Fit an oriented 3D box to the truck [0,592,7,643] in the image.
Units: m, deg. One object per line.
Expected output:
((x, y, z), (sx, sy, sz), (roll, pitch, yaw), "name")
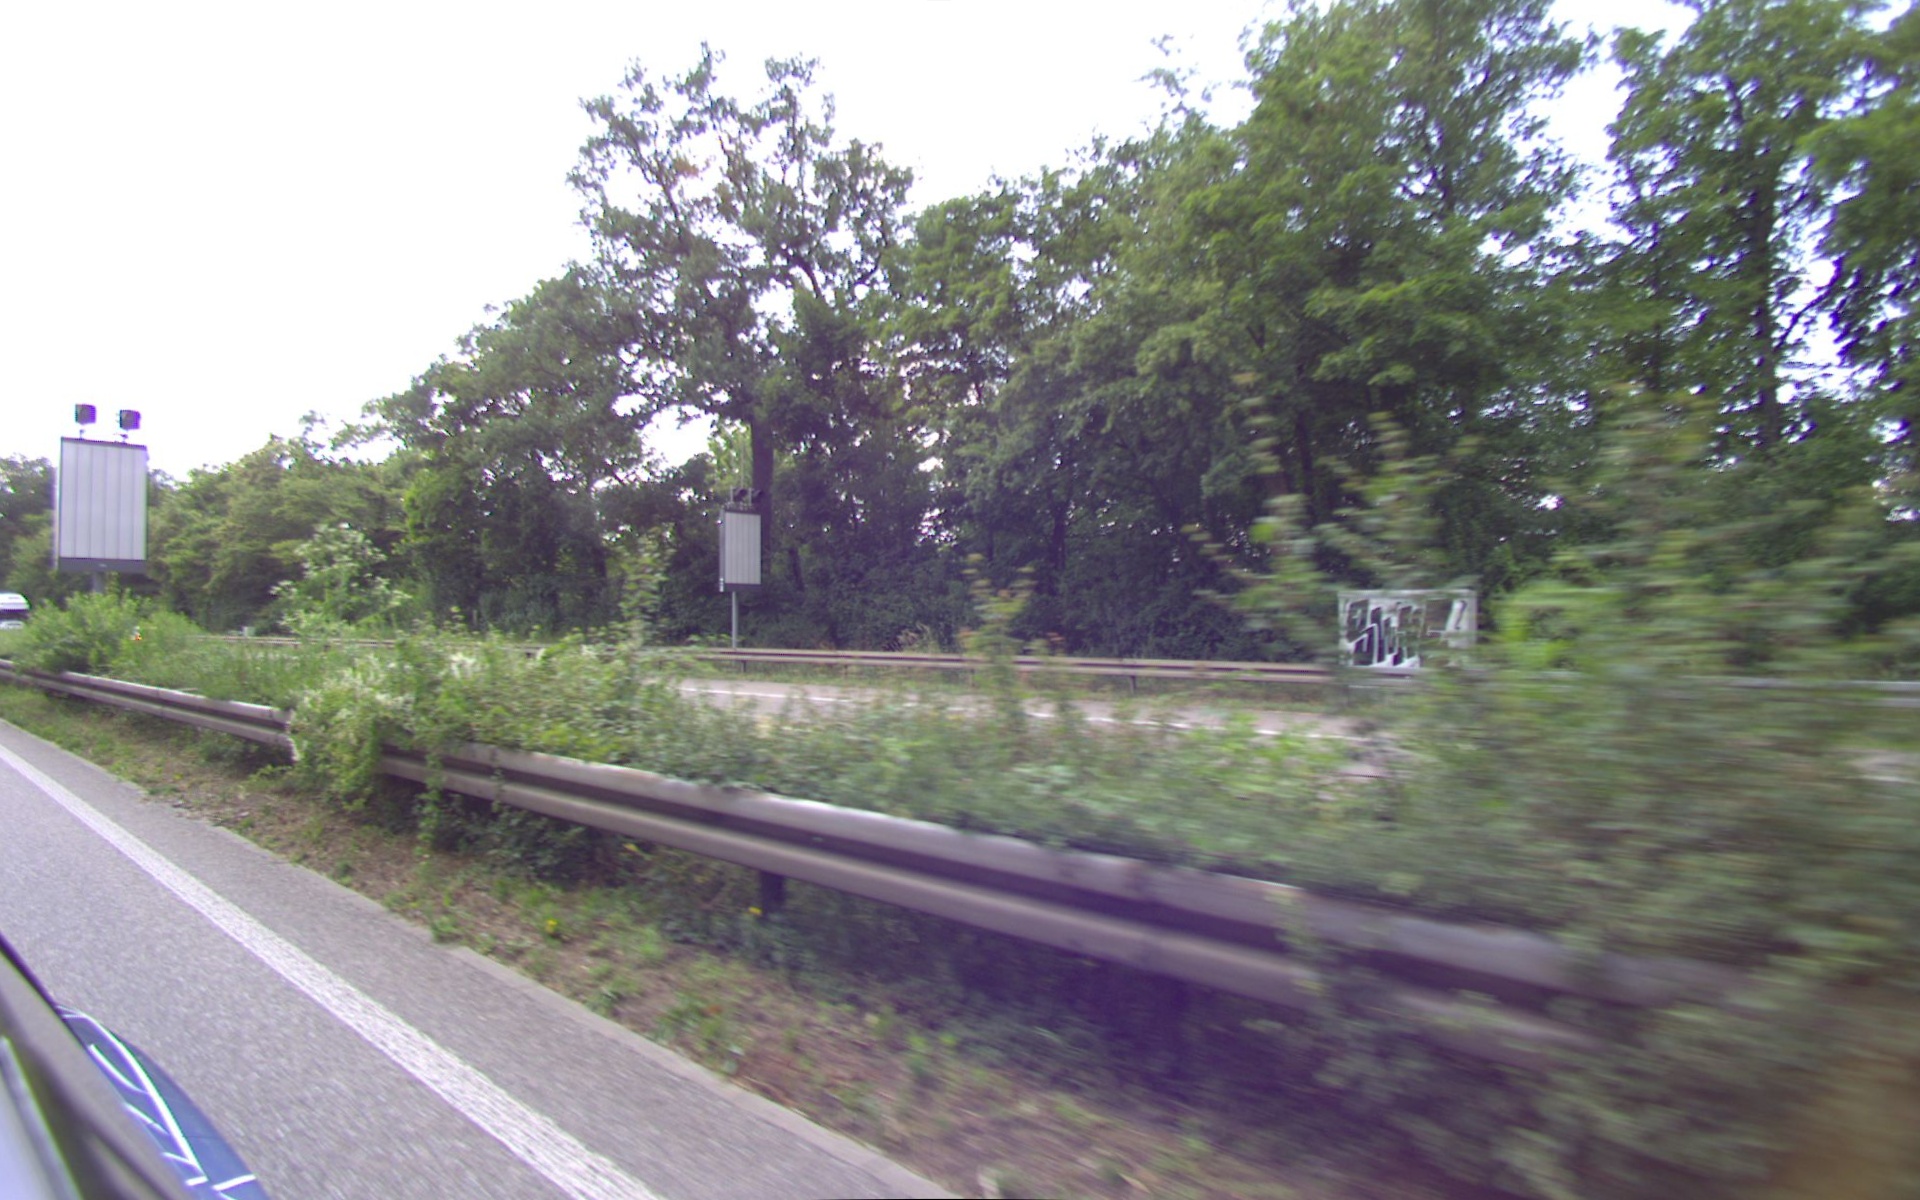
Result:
((-78.619, 1.383, 80.304), (10.312, 3.885, 2.926), (-1, -2, 39), "truck")

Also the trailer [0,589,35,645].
((-70.603, 1.254, 73.859), (10.297, 3.862, 2.909), (-1, -2, 39), "trailer")
